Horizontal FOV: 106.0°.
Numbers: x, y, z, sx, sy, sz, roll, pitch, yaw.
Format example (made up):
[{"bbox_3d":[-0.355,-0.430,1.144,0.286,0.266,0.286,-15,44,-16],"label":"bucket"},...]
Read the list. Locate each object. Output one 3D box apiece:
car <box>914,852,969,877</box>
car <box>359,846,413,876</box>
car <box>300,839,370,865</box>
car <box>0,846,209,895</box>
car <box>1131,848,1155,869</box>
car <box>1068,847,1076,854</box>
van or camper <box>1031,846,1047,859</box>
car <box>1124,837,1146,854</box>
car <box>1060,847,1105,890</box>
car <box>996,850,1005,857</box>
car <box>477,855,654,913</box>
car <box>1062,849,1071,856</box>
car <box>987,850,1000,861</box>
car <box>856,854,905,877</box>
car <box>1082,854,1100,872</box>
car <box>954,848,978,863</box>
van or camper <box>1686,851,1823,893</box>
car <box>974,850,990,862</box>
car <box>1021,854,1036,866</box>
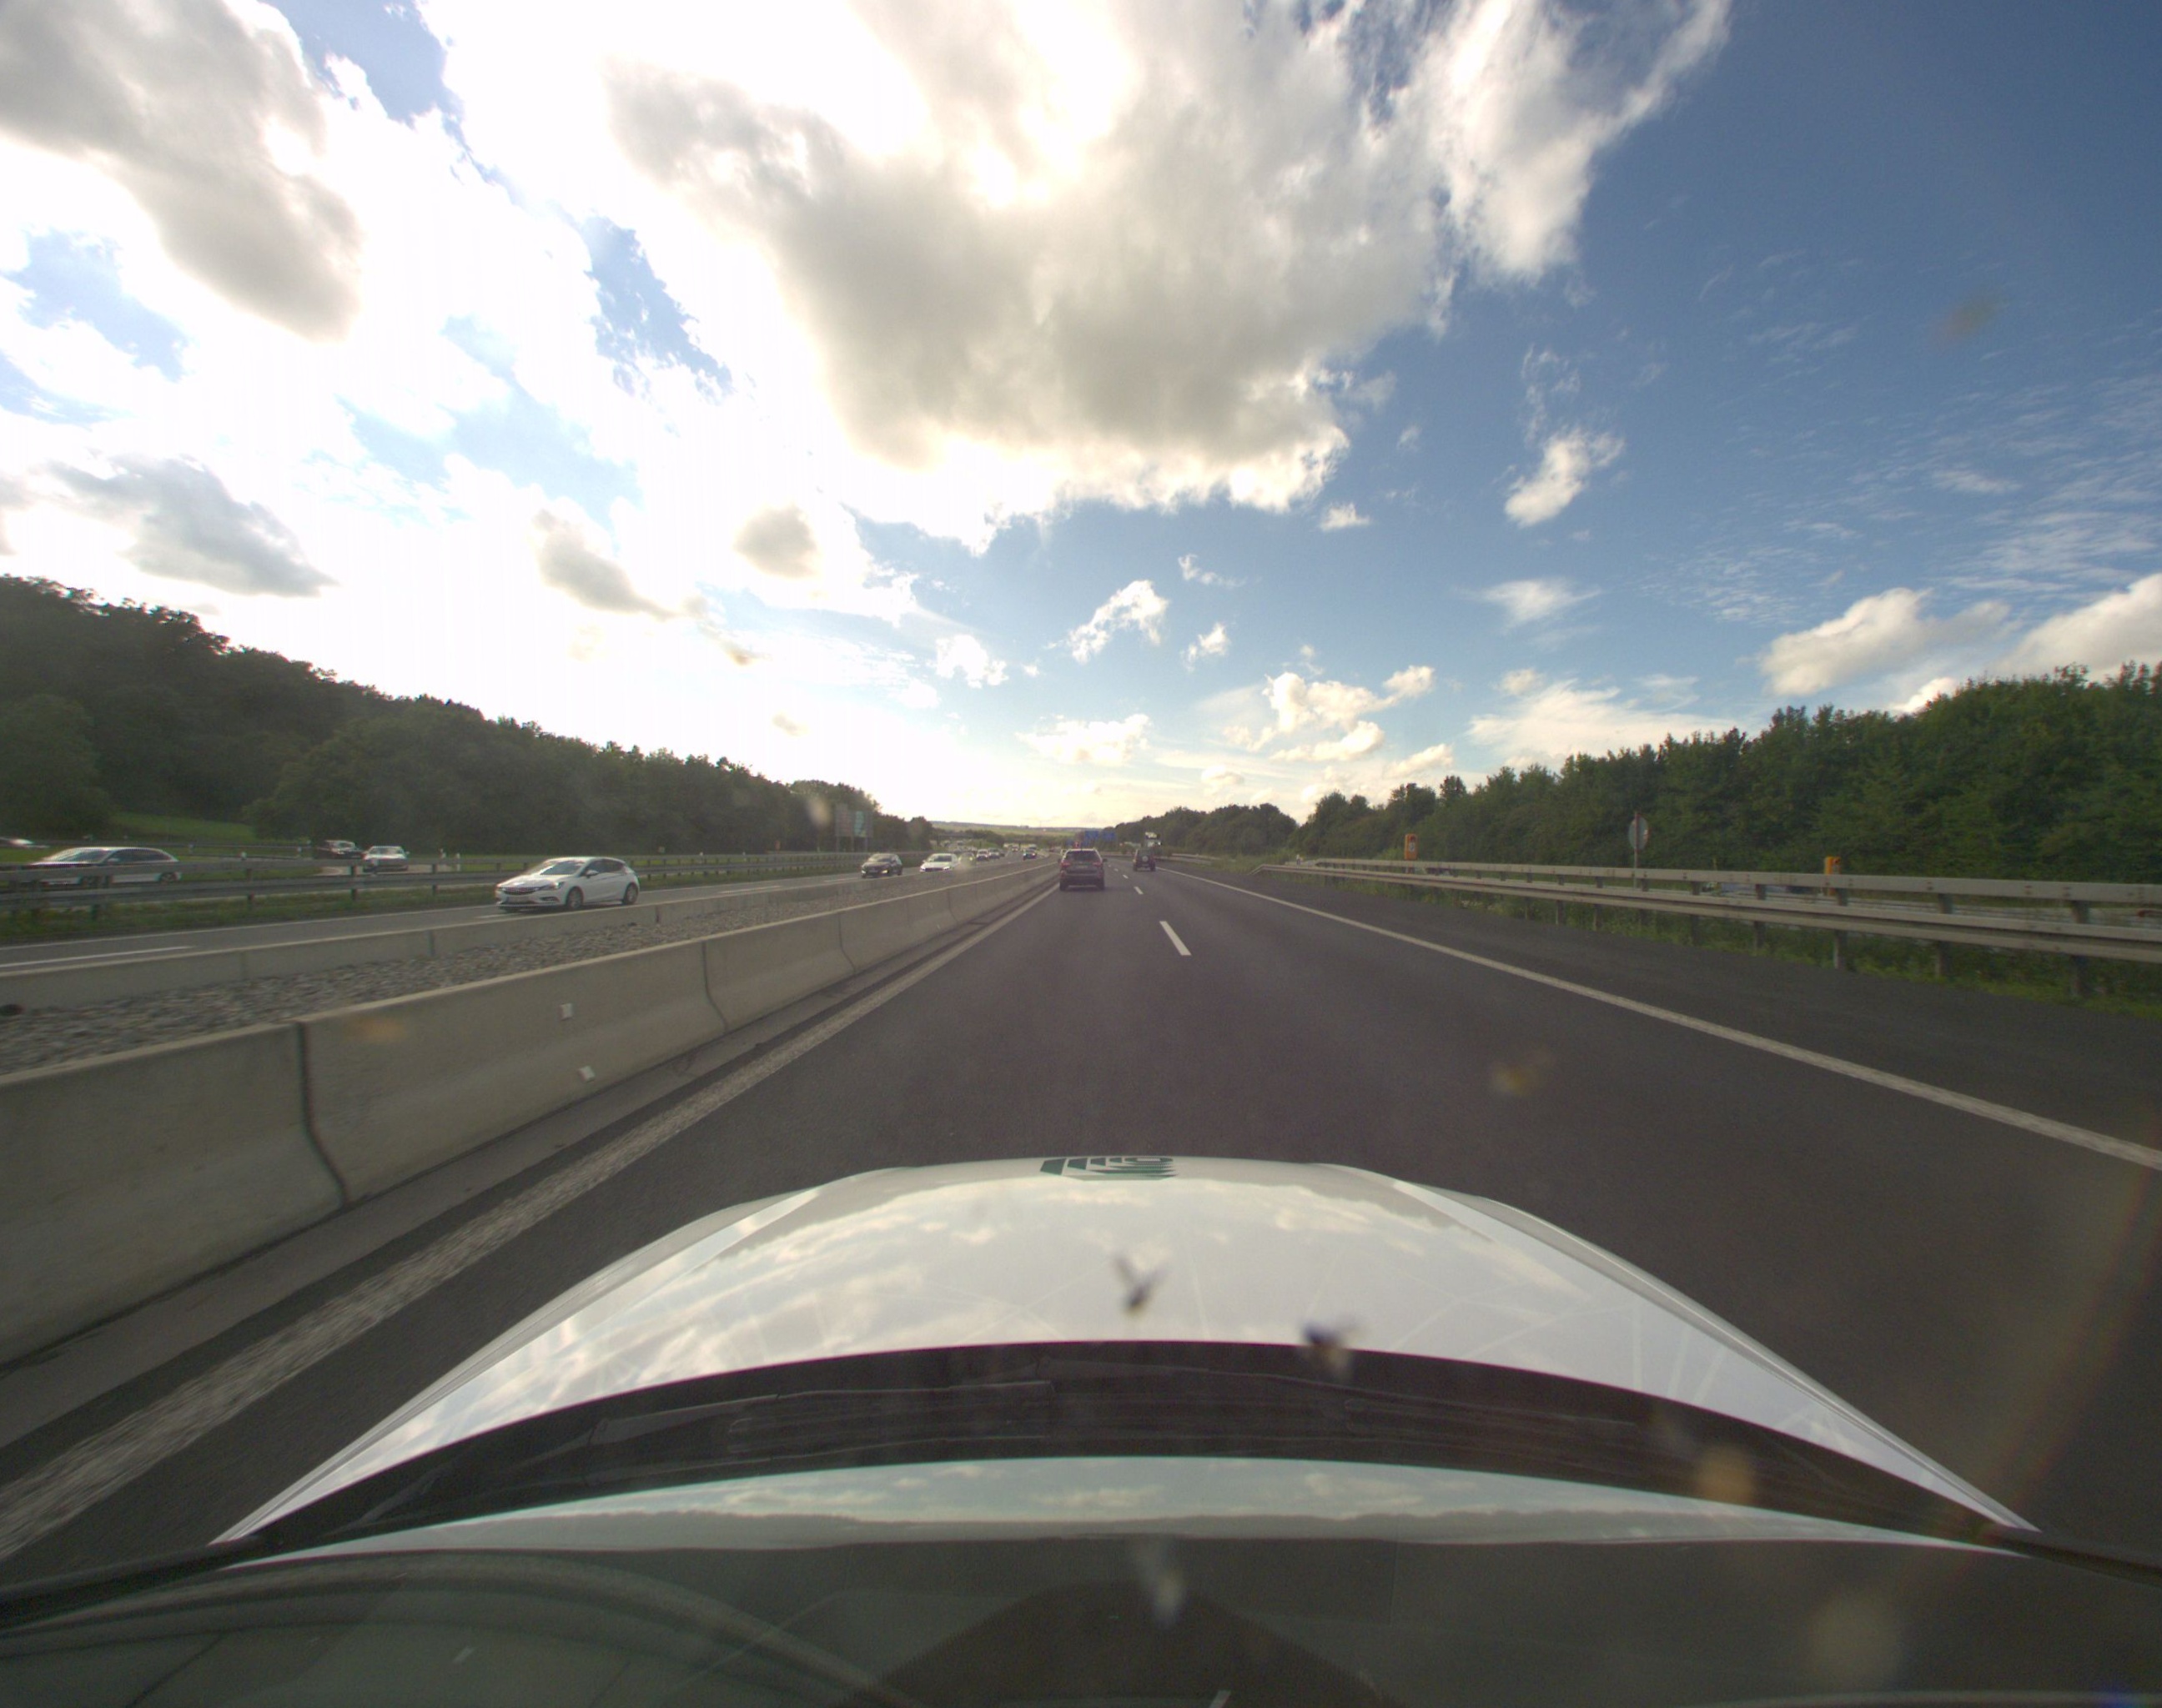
[{"bbox_3d":[-7.891,0.547,46.570,2.038,1.337,5.610,0,0,1],"label":"car"},{"bbox_3d":[-40.794,0.371,47.915,1.950,1.672,5.167,0,0,-35],"label":"car"},{"bbox_3d":[-53.962,-0.164,58.884,5.176,1.771,2.416,1,0,32],"label":"car"},{"bbox_3d":[-31.510,0.480,26.537,1.782,1.431,4.609,0,0,-10],"label":"car"},{"bbox_3d":[4.794,0.321,63.809,1.582,1.597,4.095,0,0,0],"label":"car"},{"bbox_3d":[-2.970,-1.123,257.785,1.992,1.929,3.989,0,-1,-8],"label":"car"},{"bbox_3d":[-9.605,-0.307,187.707,3.325,2.916,7.465,0,0,0],"label":"van or camper"},{"bbox_3d":[14.741,-2.231,222.402,4.718,4.266,11.389,0,-1,-3],"label":"car"},{"bbox_3d":[0.098,0.599,35.071,1.811,1.736,5.187,0,-1,1],"label":"car"},{"bbox_3d":[-17.482,-0.089,176.860,1.783,1.417,4.984,0,0,-7],"label":"car"},{"bbox_3d":[-14.164,0.753,22.760,1.878,1.429,4.580,0,0,2],"label":"car"},{"bbox_3d":[-3.742,-0.316,206.123,1.991,1.684,3.992,0,-1,-5],"label":"car"},{"bbox_3d":[-15.932,0.277,148.618,1.910,1.906,5.281,-1,0,-3],"label":"car"},{"bbox_3d":[-12.334,0.675,50.403,1.861,1.337,4.230,0,0,1],"label":"car"},{"bbox_3d":[1.281,1.045,97.760,2.022,2.151,4.003,0,0,2],"label":"car"},{"bbox_3d":[-12.935,0.151,91.437,1.986,1.691,4.374,0,0,1],"label":"car"},{"bbox_3d":[36.933,0.938,44.921,2.192,2.180,5.755,0,0,-12],"label":"van or camper"},{"bbox_3d":[-15.473,0.268,127.132,1.988,1.814,4.239,0,0,-1],"label":"car"},{"bbox_3d":[-8.458,0.902,131.074,1.986,1.920,5.150,0,0,1],"label":"car"}]
